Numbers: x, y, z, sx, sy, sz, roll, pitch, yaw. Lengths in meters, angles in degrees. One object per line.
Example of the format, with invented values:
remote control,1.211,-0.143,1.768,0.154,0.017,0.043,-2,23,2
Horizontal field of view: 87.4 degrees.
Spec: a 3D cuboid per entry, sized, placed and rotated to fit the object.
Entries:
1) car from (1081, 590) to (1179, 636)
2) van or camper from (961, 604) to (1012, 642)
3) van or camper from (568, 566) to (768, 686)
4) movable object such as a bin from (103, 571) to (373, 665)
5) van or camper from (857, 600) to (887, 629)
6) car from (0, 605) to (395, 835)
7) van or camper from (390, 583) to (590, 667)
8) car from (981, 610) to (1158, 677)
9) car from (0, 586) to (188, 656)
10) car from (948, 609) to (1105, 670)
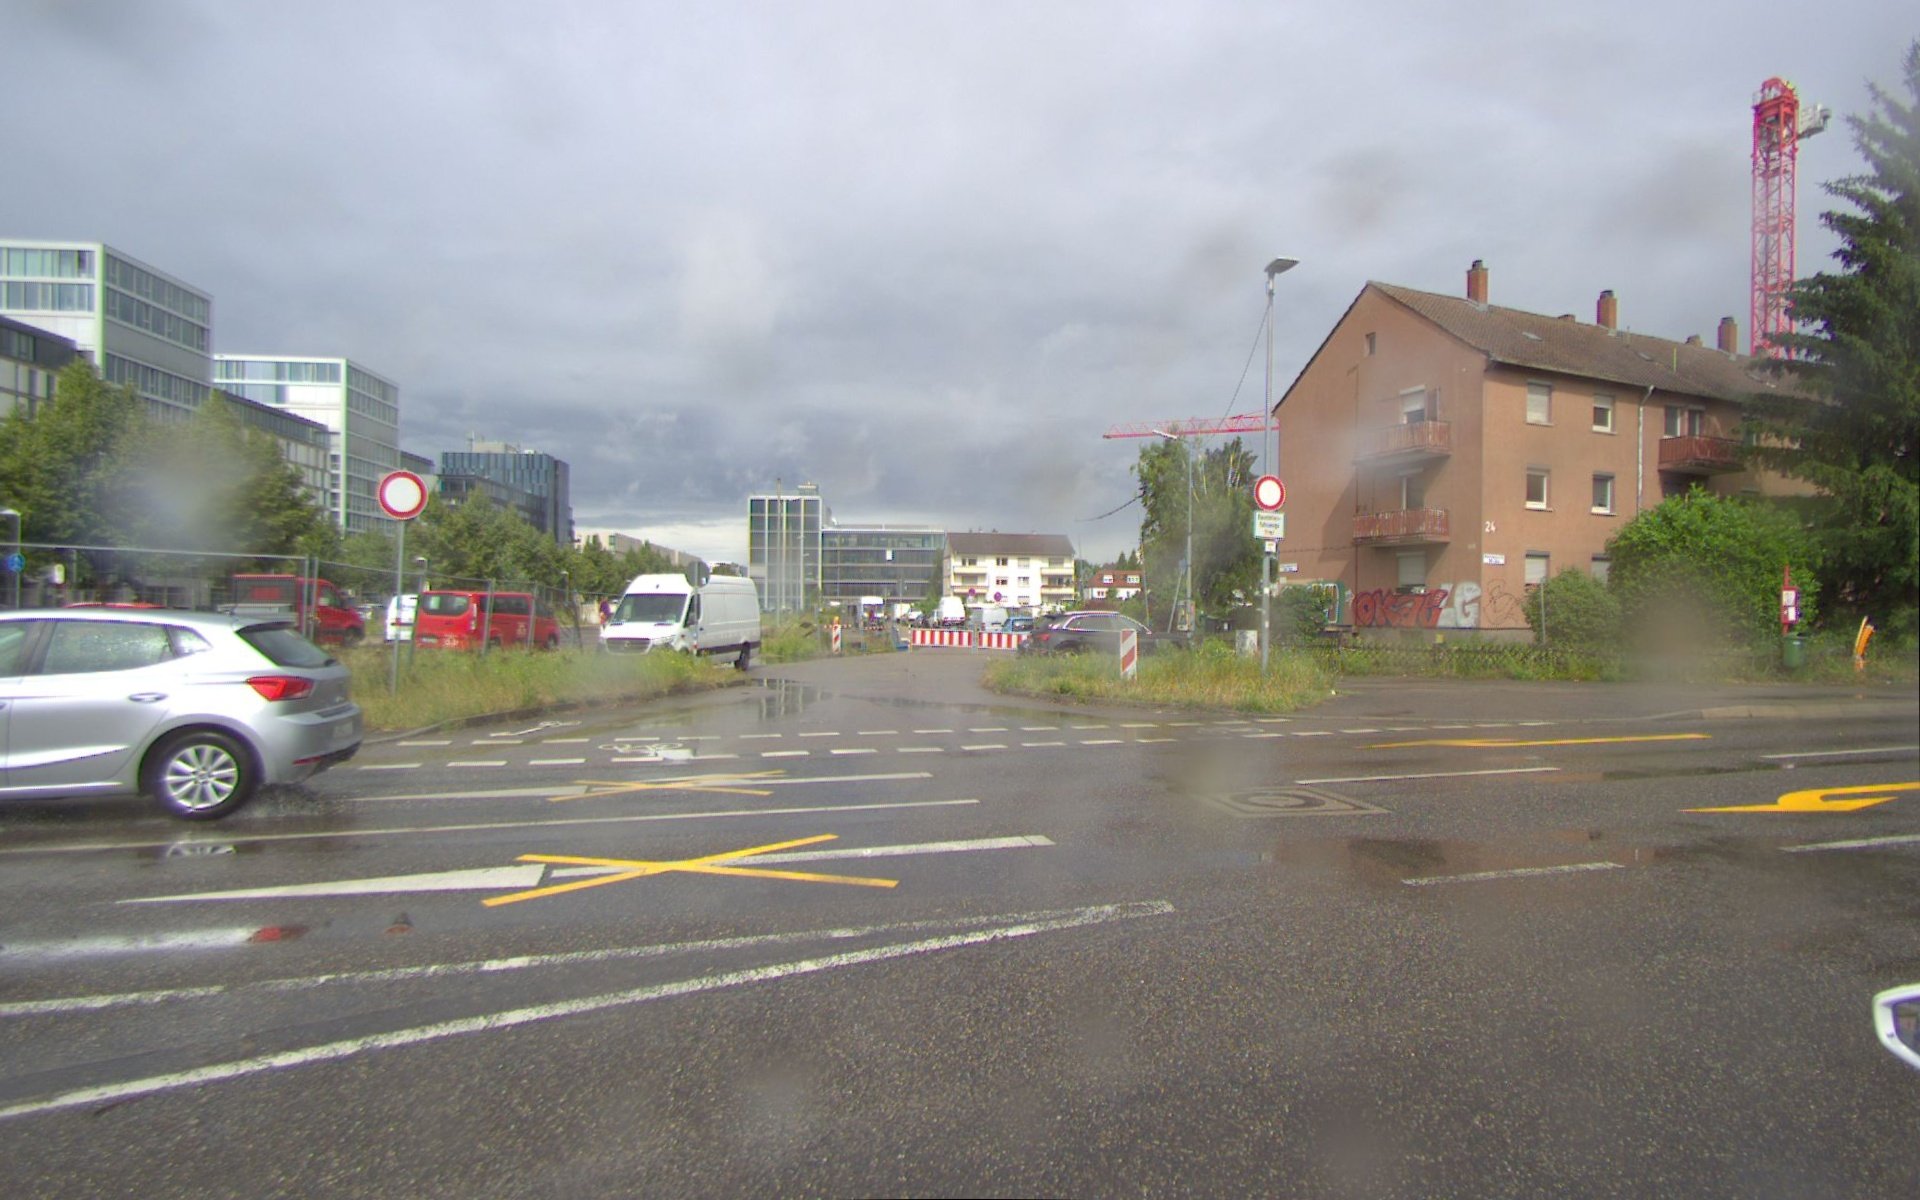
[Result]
car,7.695,0.570,45.853,4.236,2.045,1.717,0,0,3
van or camper,1.641,1.425,64.650,1.965,2.304,5.905,0,0,-12
van or camper,-7.285,0.611,26.229,2.460,2.682,6.987,0,0,7
movable object such as a bin,-20.700,0.500,29.387,2.622,2.419,6.618,0,0,6
van or camper,-7.321,1.186,83.109,1.964,2.341,4.875,0,0,-10
car,-6.537,0.769,7.126,4.114,1.433,1.736,1,0,-19
van or camper,-13.859,0.695,30.264,2.390,2.217,6.403,0,0,7
car,2.833,1.116,26.291,4.253,1.639,1.755,0,0,-13
car,-26.516,0.640,30.876,3.926,2.040,1.997,1,0,-8
car,1.874,1.102,28.809,4.185,1.639,1.755,0,0,-13
